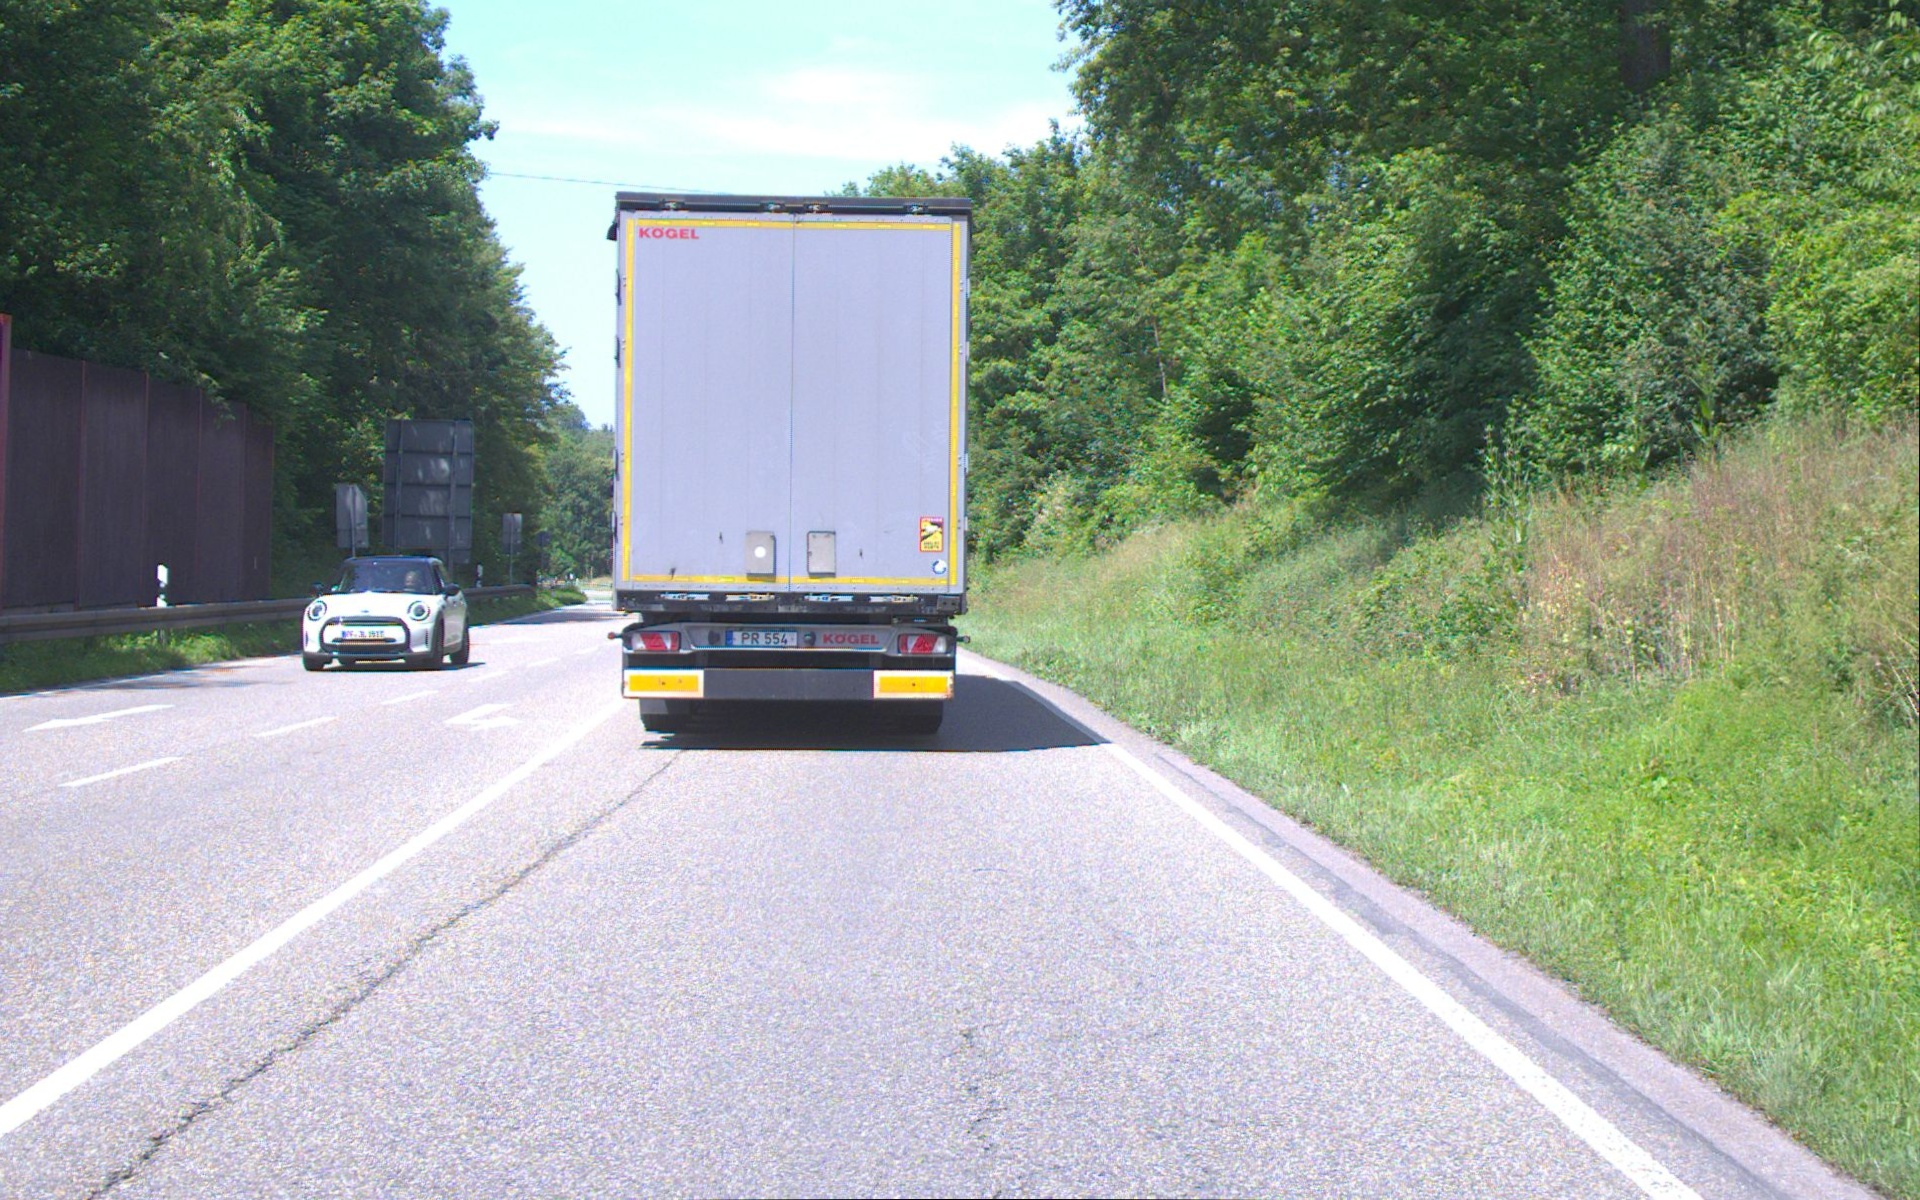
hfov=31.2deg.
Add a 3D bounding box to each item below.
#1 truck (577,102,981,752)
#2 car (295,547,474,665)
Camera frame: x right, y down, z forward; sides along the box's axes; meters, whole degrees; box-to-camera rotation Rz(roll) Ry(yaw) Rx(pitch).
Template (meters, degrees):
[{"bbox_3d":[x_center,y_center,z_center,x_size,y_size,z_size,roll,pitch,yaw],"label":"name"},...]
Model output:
[{"bbox_3d":[-1.401,-1.329,27.809,2.822,4.588,6.666,1,2,-2],"label":"truck"},{"bbox_3d":[-7.320,0.046,44.027,1.806,1.430,3.872,0,1,-3],"label":"car"}]
